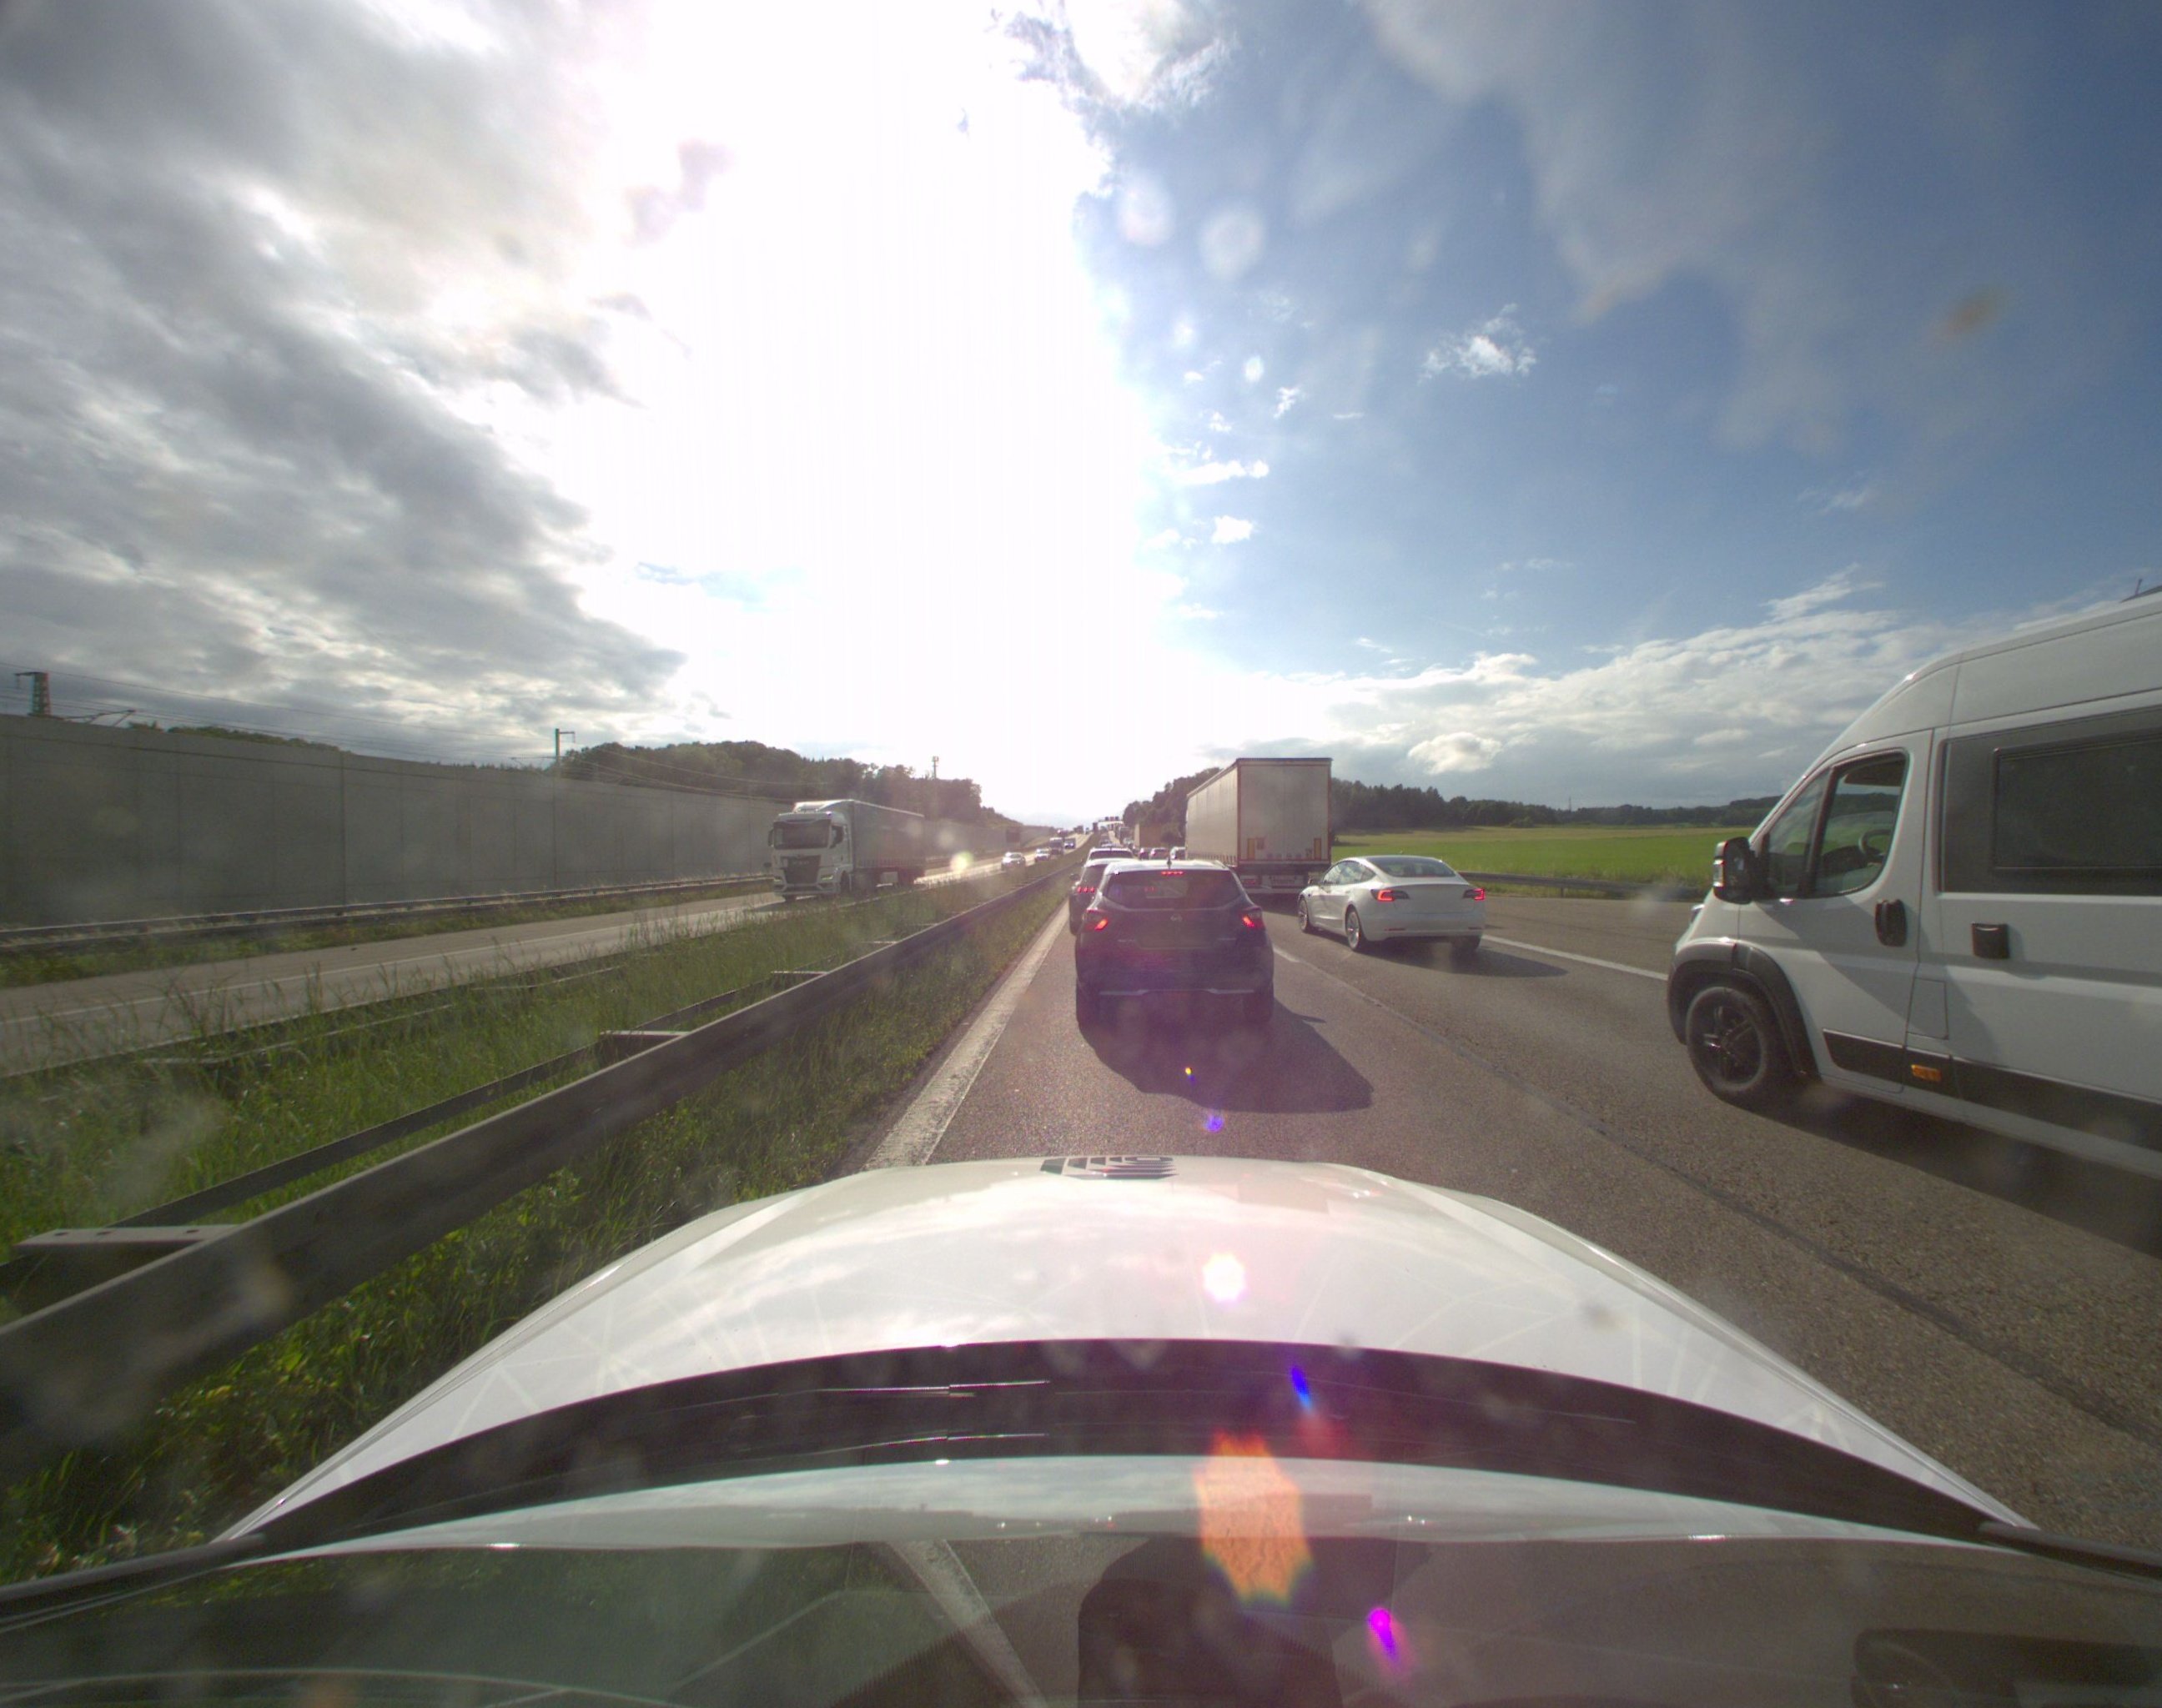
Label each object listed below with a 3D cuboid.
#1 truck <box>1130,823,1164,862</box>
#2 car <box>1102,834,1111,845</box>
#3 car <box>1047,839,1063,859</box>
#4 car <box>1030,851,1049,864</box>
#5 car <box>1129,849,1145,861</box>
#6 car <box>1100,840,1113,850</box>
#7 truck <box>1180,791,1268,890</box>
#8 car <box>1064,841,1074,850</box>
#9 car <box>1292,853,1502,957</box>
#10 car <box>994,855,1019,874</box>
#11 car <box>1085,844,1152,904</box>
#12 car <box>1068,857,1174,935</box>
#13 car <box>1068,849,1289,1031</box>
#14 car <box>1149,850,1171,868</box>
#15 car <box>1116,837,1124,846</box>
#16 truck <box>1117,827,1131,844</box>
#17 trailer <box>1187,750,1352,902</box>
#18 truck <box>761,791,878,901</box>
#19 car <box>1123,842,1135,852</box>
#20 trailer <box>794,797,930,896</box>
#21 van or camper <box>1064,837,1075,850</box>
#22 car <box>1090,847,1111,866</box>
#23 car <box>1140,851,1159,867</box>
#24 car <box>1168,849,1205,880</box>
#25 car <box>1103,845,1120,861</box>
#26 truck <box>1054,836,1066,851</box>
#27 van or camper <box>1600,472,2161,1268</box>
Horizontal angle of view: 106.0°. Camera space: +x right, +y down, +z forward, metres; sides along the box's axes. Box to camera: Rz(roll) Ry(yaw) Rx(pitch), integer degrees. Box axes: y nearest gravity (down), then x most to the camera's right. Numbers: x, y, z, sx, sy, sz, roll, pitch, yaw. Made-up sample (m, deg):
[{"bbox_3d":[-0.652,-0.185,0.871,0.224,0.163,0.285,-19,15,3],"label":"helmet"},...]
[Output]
[{"bbox_3d":[8.119,-1.267,102.134,3.286,4.577,12.439,0,-1,0],"label":"truck"},{"bbox_3d":[5.511,-3.184,177.102,1.866,2.158,5.214,-1,3,2],"label":"car"},{"bbox_3d":[-3.834,-0.762,121.216,2.096,2.870,5.637,-1,0,1],"label":"car"},{"bbox_3d":[-4.765,0.445,94.643,1.866,1.451,4.234,-1,0,2],"label":"car"},{"bbox_3d":[7.674,0.113,112.544,1.867,1.644,4.231,-1,0,0],"label":"car"},{"bbox_3d":[4.155,-1.500,133.243,1.867,1.644,4.233,-1,1,1],"label":"car"},{"bbox_3d":[6.185,-0.521,35.936,3.121,4.016,5.166,-1,-1,2],"label":"truck"},{"bbox_3d":[-2.501,-1.804,170.603,1.903,1.671,4.363,-1,0,1],"label":"car"},{"bbox_3d":[4.937,0.697,13.456,1.782,1.394,4.437,-1,0,1],"label":"car"},{"bbox_3d":[-6.237,0.869,68.574,1.646,1.451,3.957,-1,0,1],"label":"car"},{"bbox_3d":[1.133,0.569,25.239,1.866,1.644,4.234,-1,0,2],"label":"car"},{"bbox_3d":[0.790,0.770,16.759,1.866,1.358,4.234,-1,0,2],"label":"car"},{"bbox_3d":[0.868,0.708,8.760,1.766,1.451,4.234,-1,0,2],"label":"car"},{"bbox_3d":[7.621,0.449,79.065,1.866,1.644,4.234,-1,1,2],"label":"car"},{"bbox_3d":[9.607,-3.149,201.616,1.866,2.158,5.214,-1,3,2],"label":"car"},{"bbox_3d":[11.960,-5.239,226.904,3.453,4.576,12.442,0,1,0],"label":"truck"},{"bbox_3d":[5.875,-0.634,28.303,3.118,4.011,13.372,-1,-1,2],"label":"trailer"},{"bbox_3d":[-10.720,-0.290,34.013,2.766,4.088,5.533,-3,0,1],"label":"truck"},{"bbox_3d":[8.493,-1.216,144.302,1.868,1.644,4.230,-1,1,-2],"label":"car"},{"bbox_3d":[-10.565,-0.278,41.398,2.780,4.077,13.522,-3,0,1],"label":"trailer"},{"bbox_3d":[-2.465,-2.234,176.377,2.244,2.704,7.171,-1,0,1],"label":"van or camper"},{"bbox_3d":[1.838,0.206,75.117,1.866,1.644,4.234,-1,1,2],"label":"car"},{"bbox_3d":[7.410,0.542,88.579,1.866,1.644,4.234,-1,0,2],"label":"car"},{"bbox_3d":[5.888,0.563,45.697,1.691,1.610,4.440,-1,0,3],"label":"car"},{"bbox_3d":[3.512,-0.157,93.435,1.866,1.644,4.234,-1,1,2],"label":"car"},{"bbox_3d":[-5.411,-2.716,212.807,2.573,3.923,5.724,-2,0,1],"label":"truck"},{"bbox_3d":[4.740,0.039,2.584,2.207,2.681,6.333,-1,0,1],"label":"van or camper"}]
